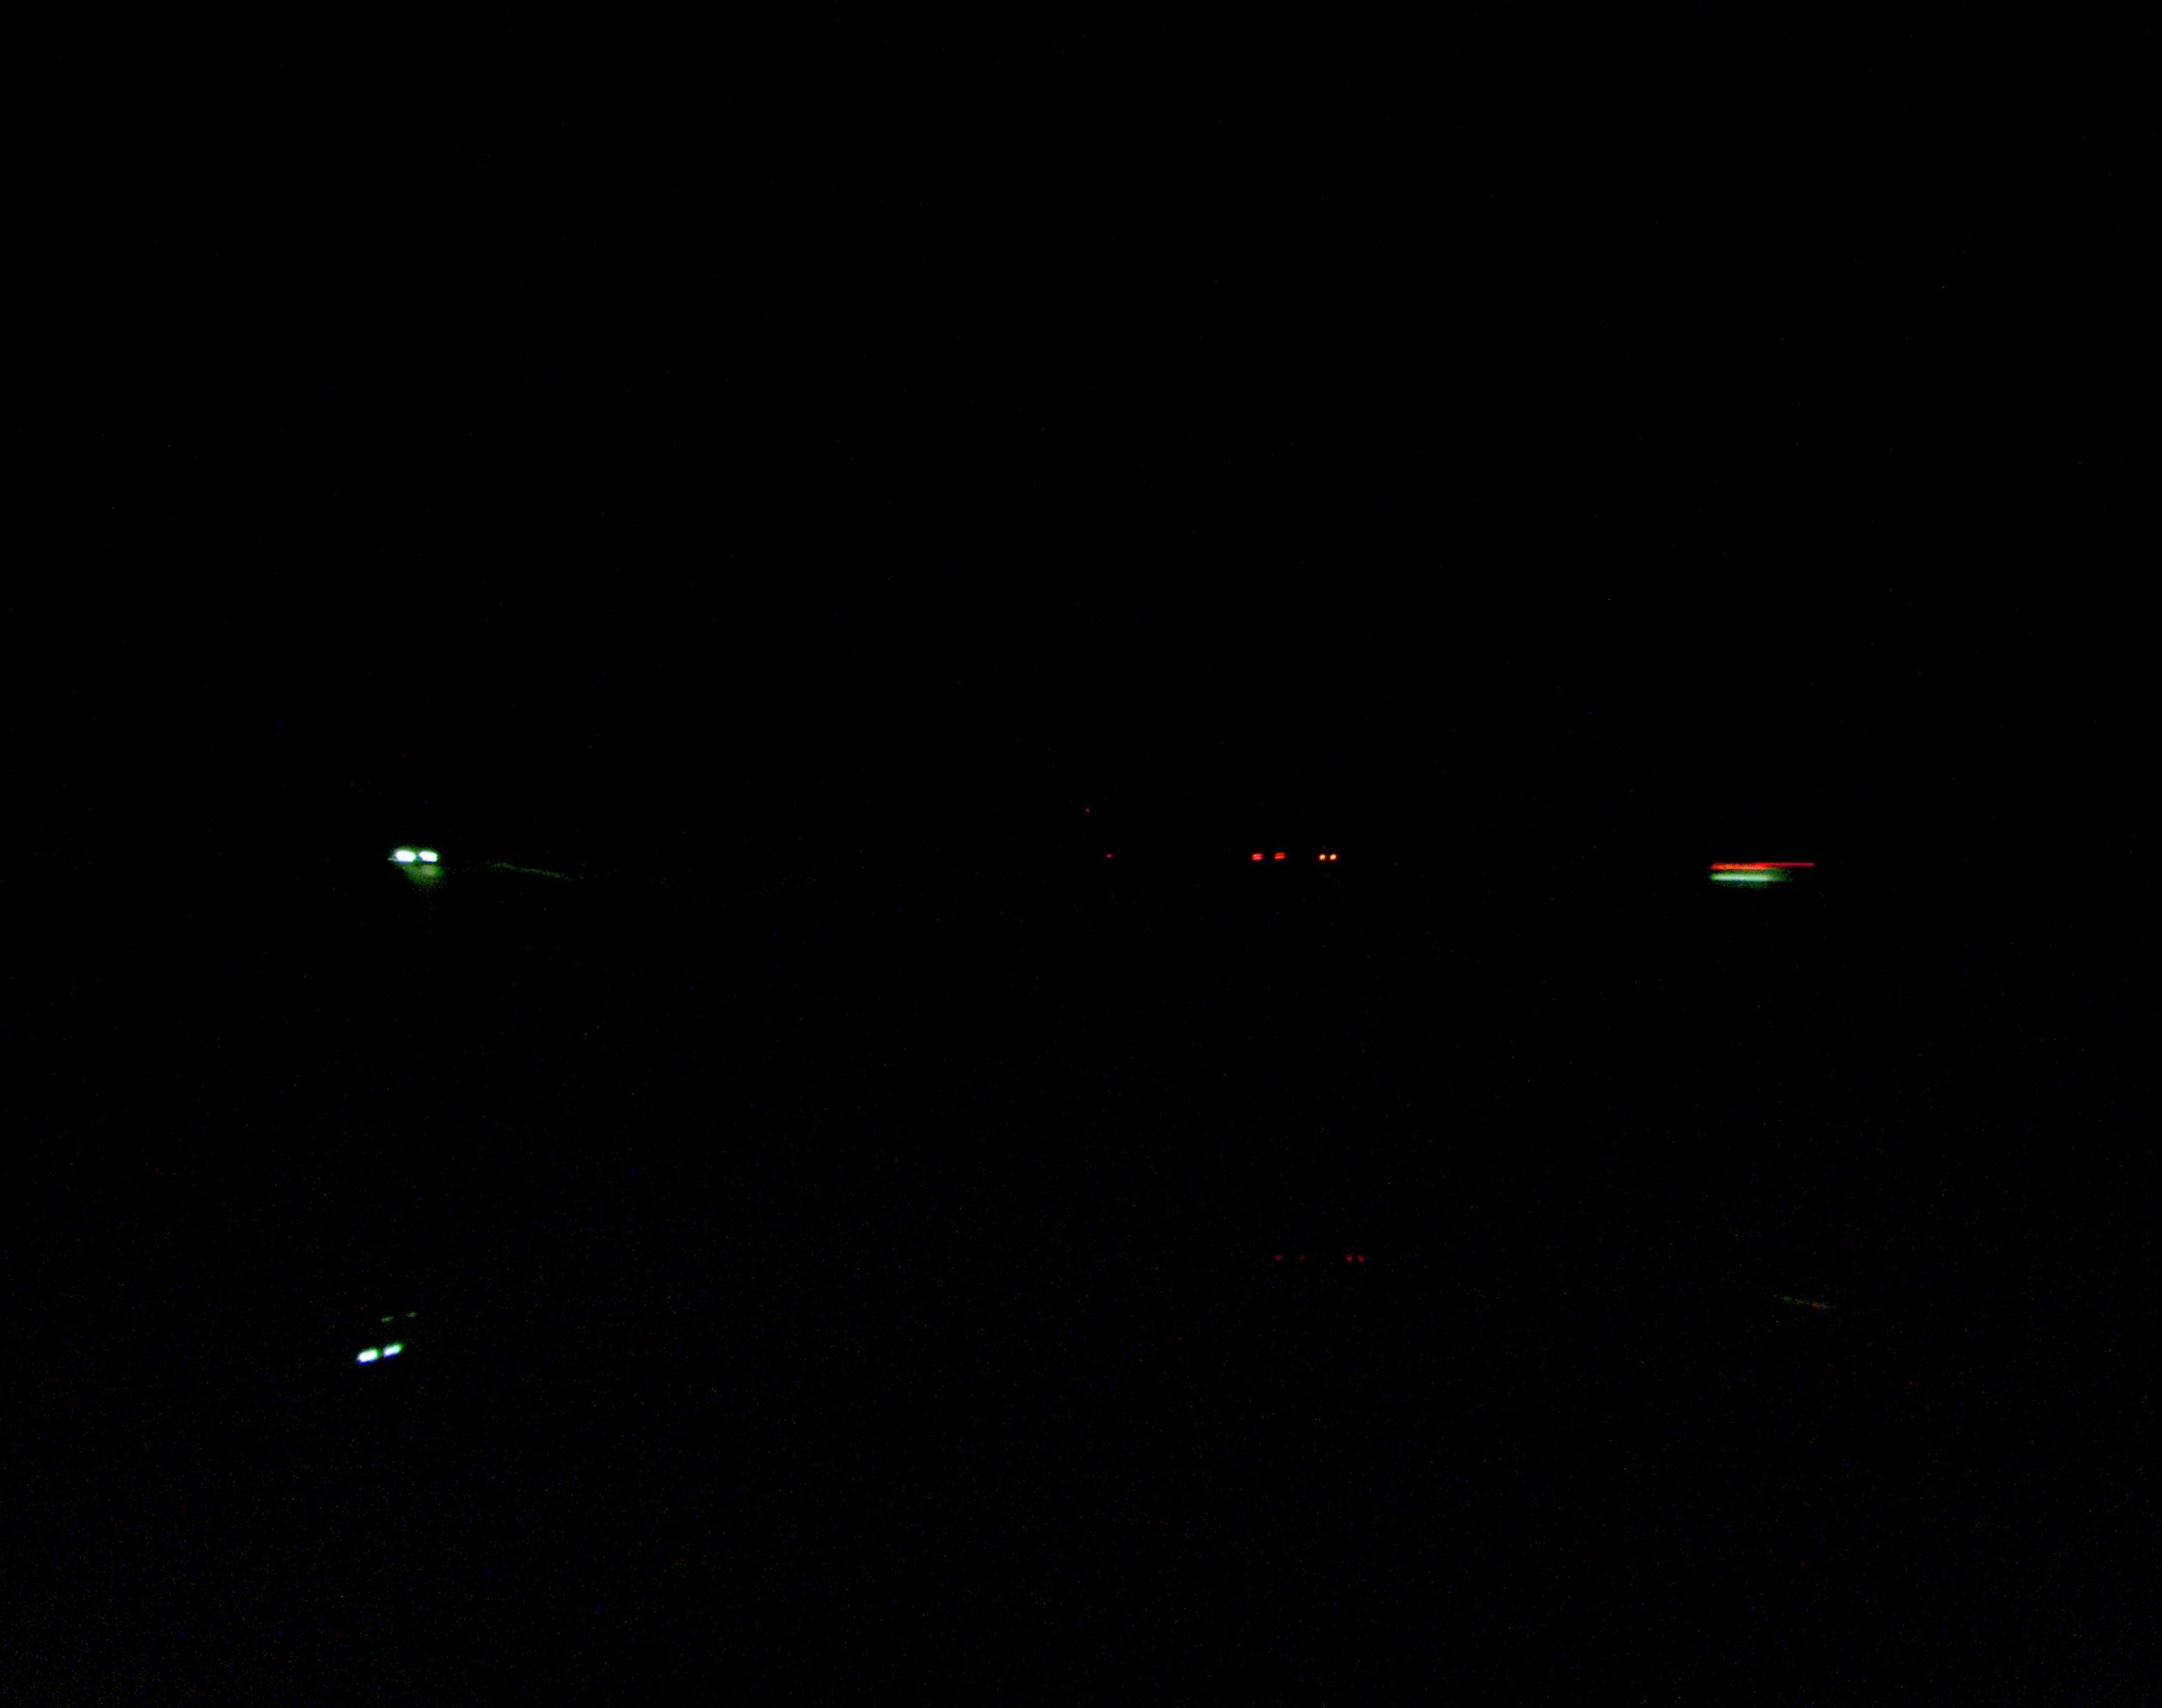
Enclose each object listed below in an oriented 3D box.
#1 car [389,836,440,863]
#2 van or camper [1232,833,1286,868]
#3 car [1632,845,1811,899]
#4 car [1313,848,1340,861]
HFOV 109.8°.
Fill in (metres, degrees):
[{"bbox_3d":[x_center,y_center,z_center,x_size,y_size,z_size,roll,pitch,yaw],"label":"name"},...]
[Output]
[{"bbox_3d":[-50.798,-0.336,57.881,3.989,1.843,2.004,-2,1,36],"label":"car"},{"bbox_3d":[14.397,-0.291,62.094,2.301,2.602,7.662,-1,0,-3],"label":"van or camper"},{"bbox_3d":[18.891,0.473,22.699,1.962,1.448,4.171,0,0,3],"label":"car"},{"bbox_3d":[28.291,0.053,87.737,1.825,1.433,4.476,0,0,3],"label":"car"}]
